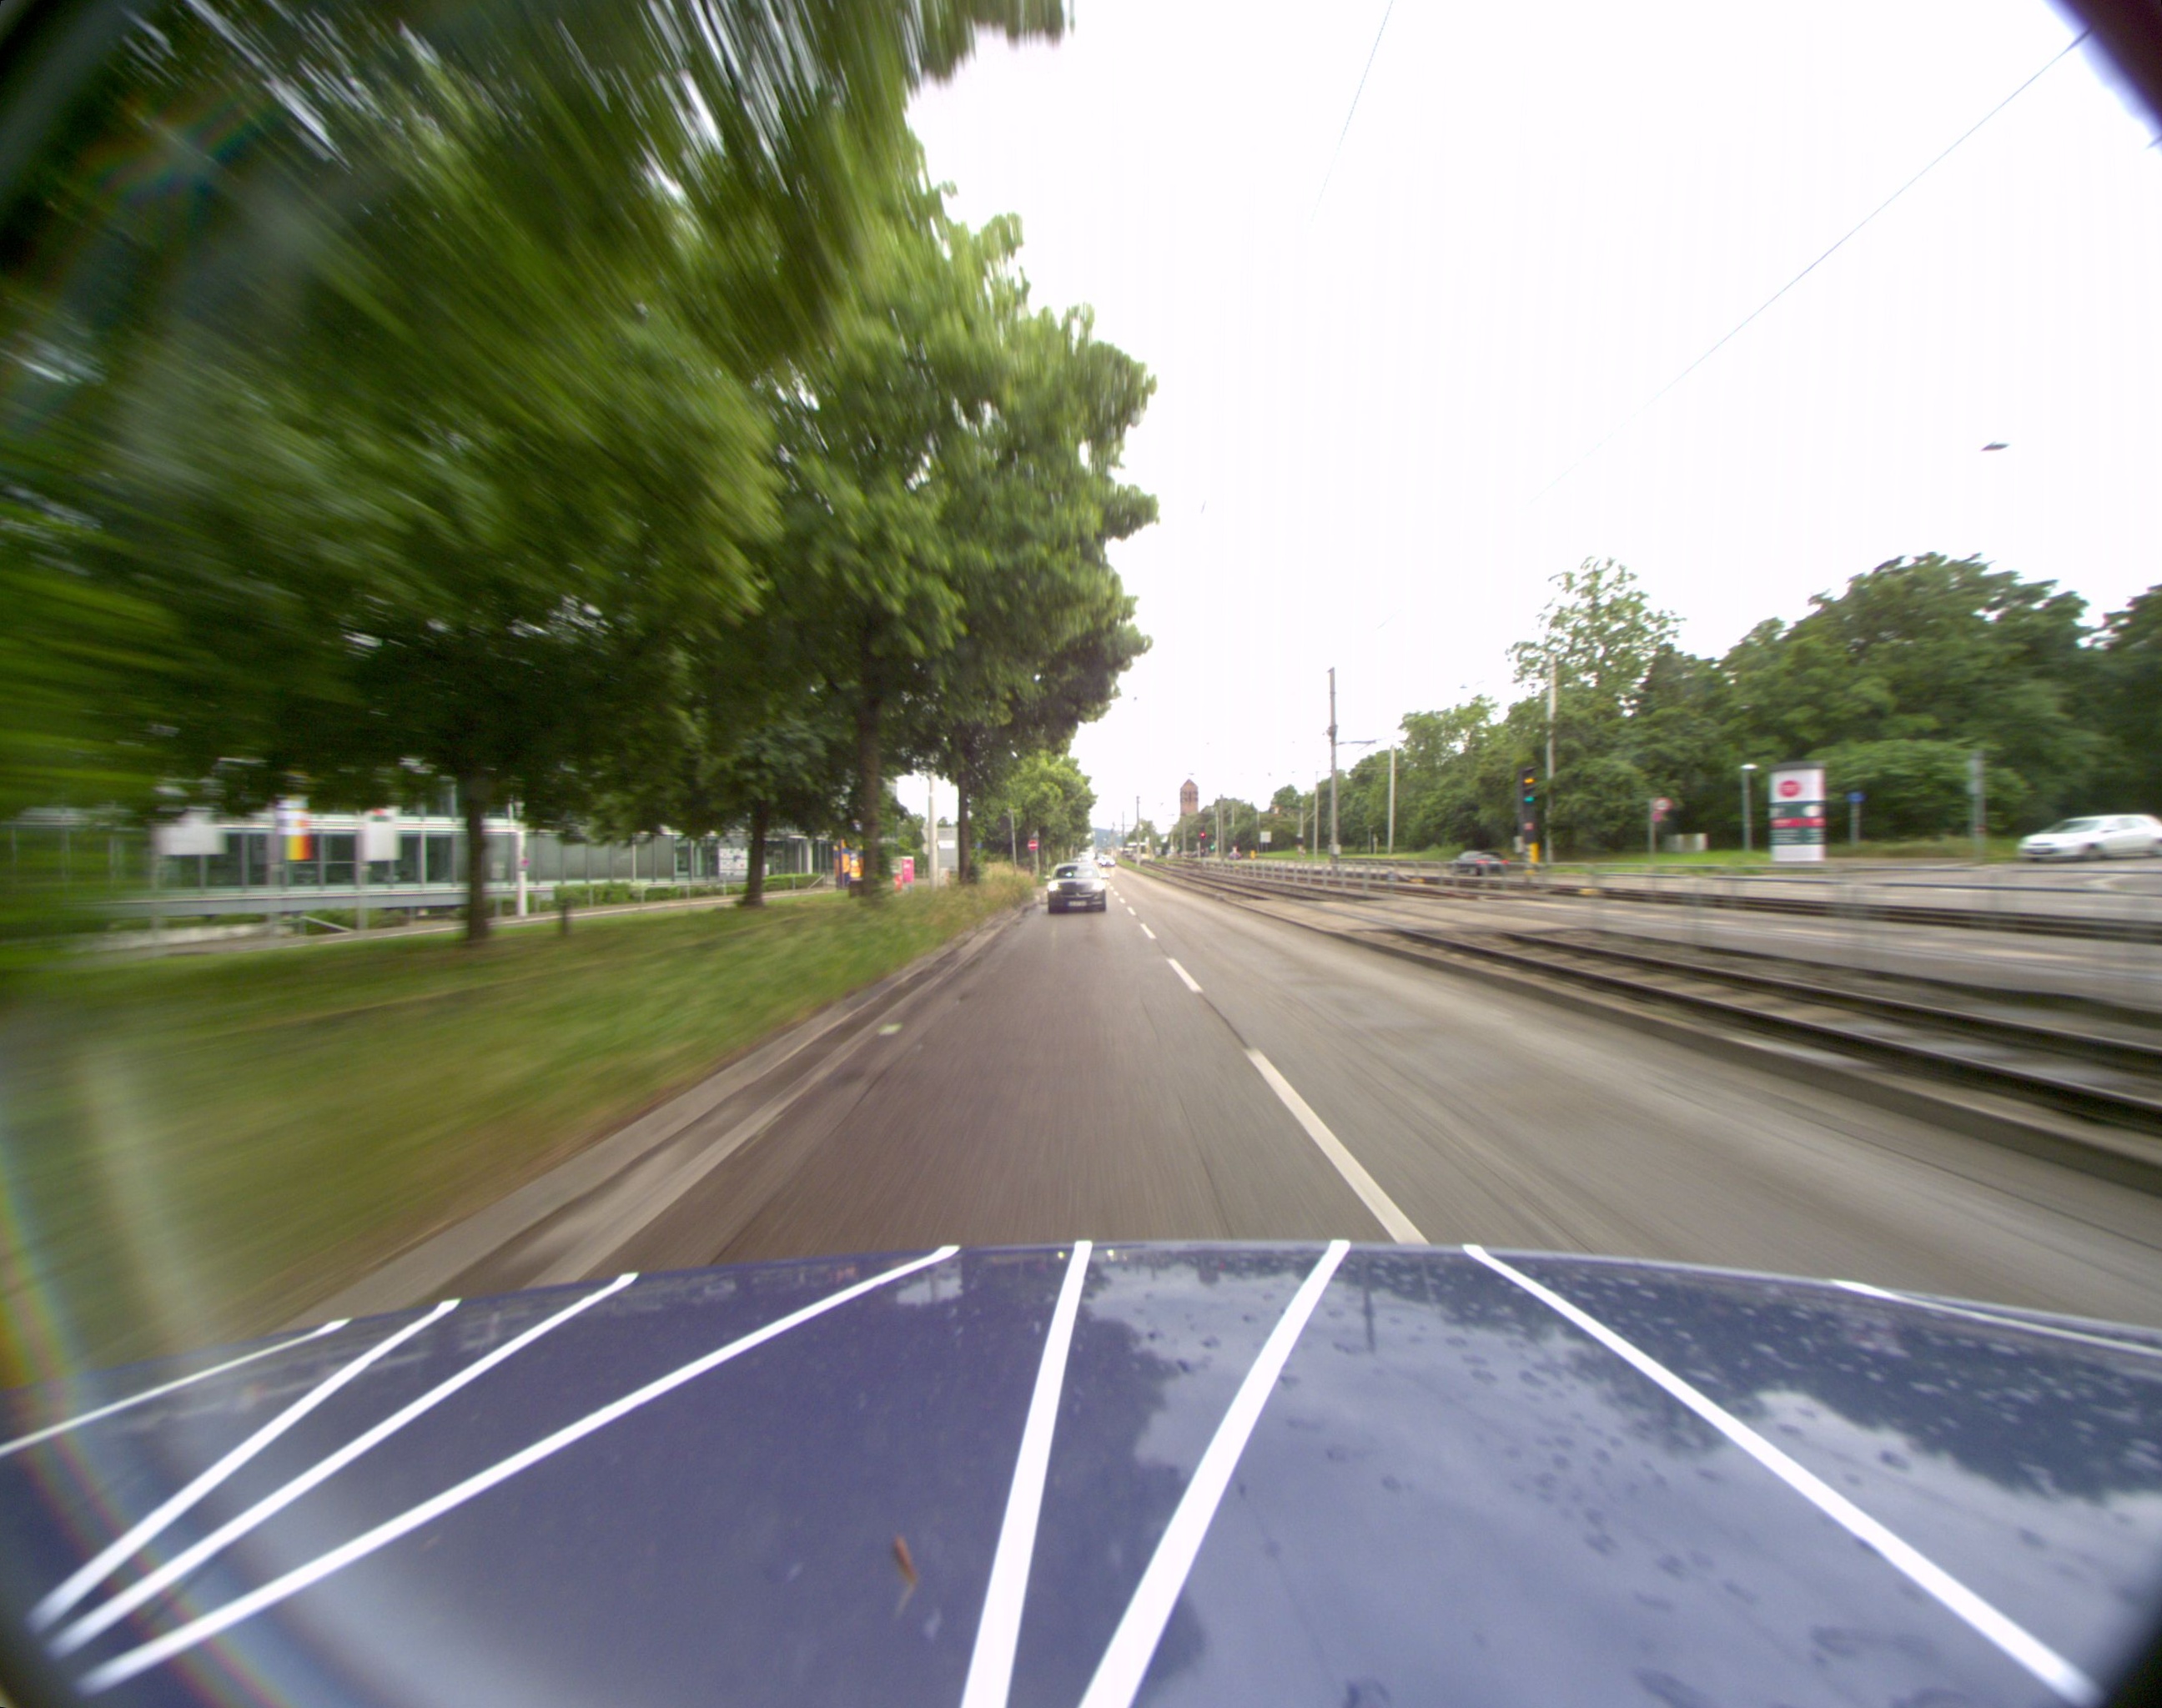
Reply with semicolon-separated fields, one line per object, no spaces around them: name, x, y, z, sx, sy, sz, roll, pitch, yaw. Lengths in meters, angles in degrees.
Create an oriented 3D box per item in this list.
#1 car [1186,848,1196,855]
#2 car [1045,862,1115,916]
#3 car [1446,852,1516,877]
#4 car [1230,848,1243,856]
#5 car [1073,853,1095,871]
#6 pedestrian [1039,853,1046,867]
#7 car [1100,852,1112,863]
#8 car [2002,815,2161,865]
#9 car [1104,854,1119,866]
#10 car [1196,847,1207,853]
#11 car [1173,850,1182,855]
car;24.966;-0.580;172.943;1.895;1.478;4.309;-1;1;3
car;0.014;1.009;23.440;1.899;1.432;4.474;-2;0;1
car;21.849;0.550;41.650;1.760;1.237;3.987;-1;1;1
car;27.710;-0.363;135.714;1.765;1.389;3.901;-1;1;3
car;0.318;0.713;71.889;1.998;1.608;4.000;-1;1;1
pedestrian;-4.985;0.720;98.609;0.828;1.787;0.867;-2;1;1
car;3.862;0.583;118.010;1.812;1.566;3.971;-2;1;1
car;35.559;-0.494;26.770;3.929;1.445;1.925;-4;1;-1
car;3.958;0.785;99.870;1.899;1.432;4.246;-2;0;1
car;28.637;-0.955;180.606;1.952;1.586;4.848;-1;1;3
car;29.099;-0.391;229.060;1.931;1.438;4.682;-1;1;1
